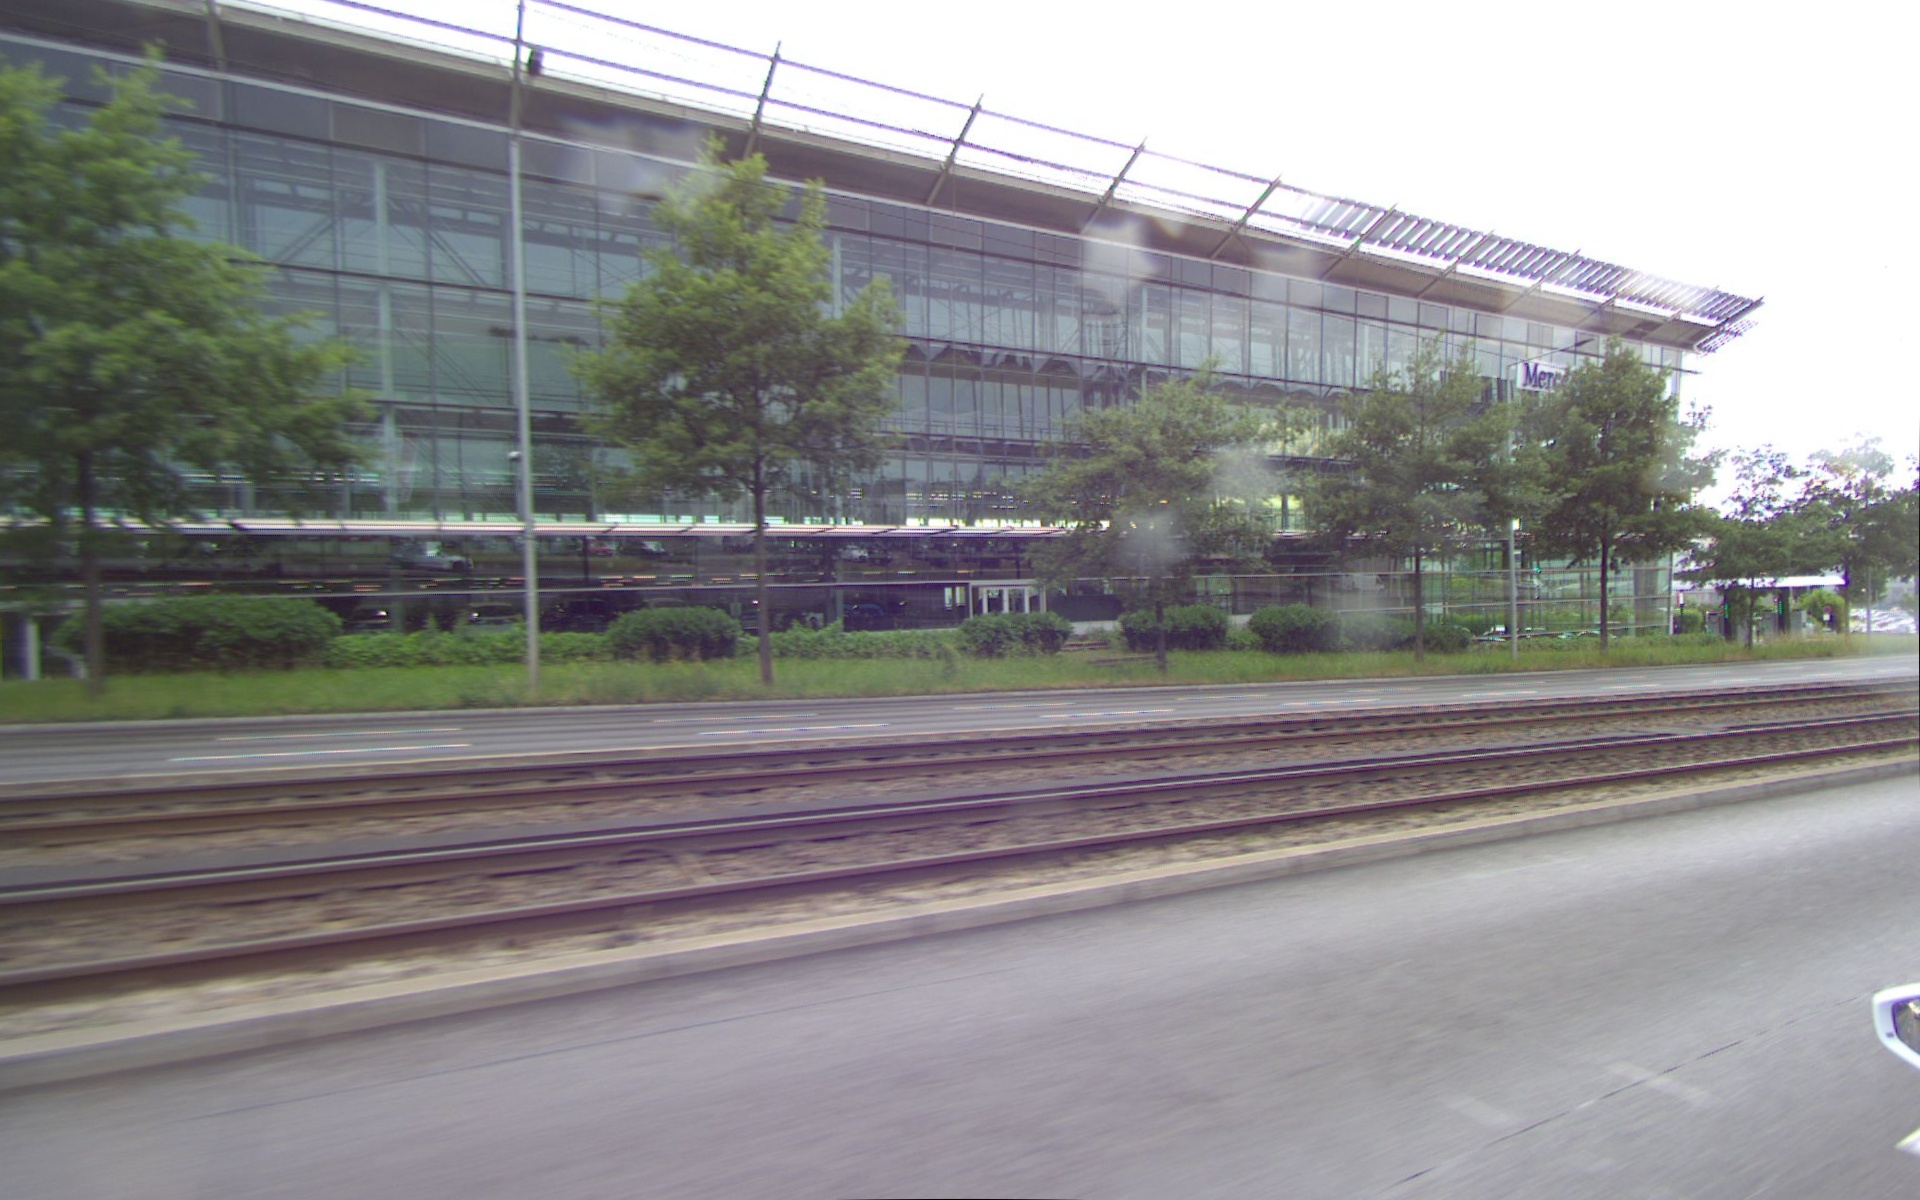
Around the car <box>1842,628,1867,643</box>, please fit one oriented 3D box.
[{"bbox_3d":[96.264,3.806,108.122,1.730,1.514,3.983,2,0,39],"label":"car"}]
